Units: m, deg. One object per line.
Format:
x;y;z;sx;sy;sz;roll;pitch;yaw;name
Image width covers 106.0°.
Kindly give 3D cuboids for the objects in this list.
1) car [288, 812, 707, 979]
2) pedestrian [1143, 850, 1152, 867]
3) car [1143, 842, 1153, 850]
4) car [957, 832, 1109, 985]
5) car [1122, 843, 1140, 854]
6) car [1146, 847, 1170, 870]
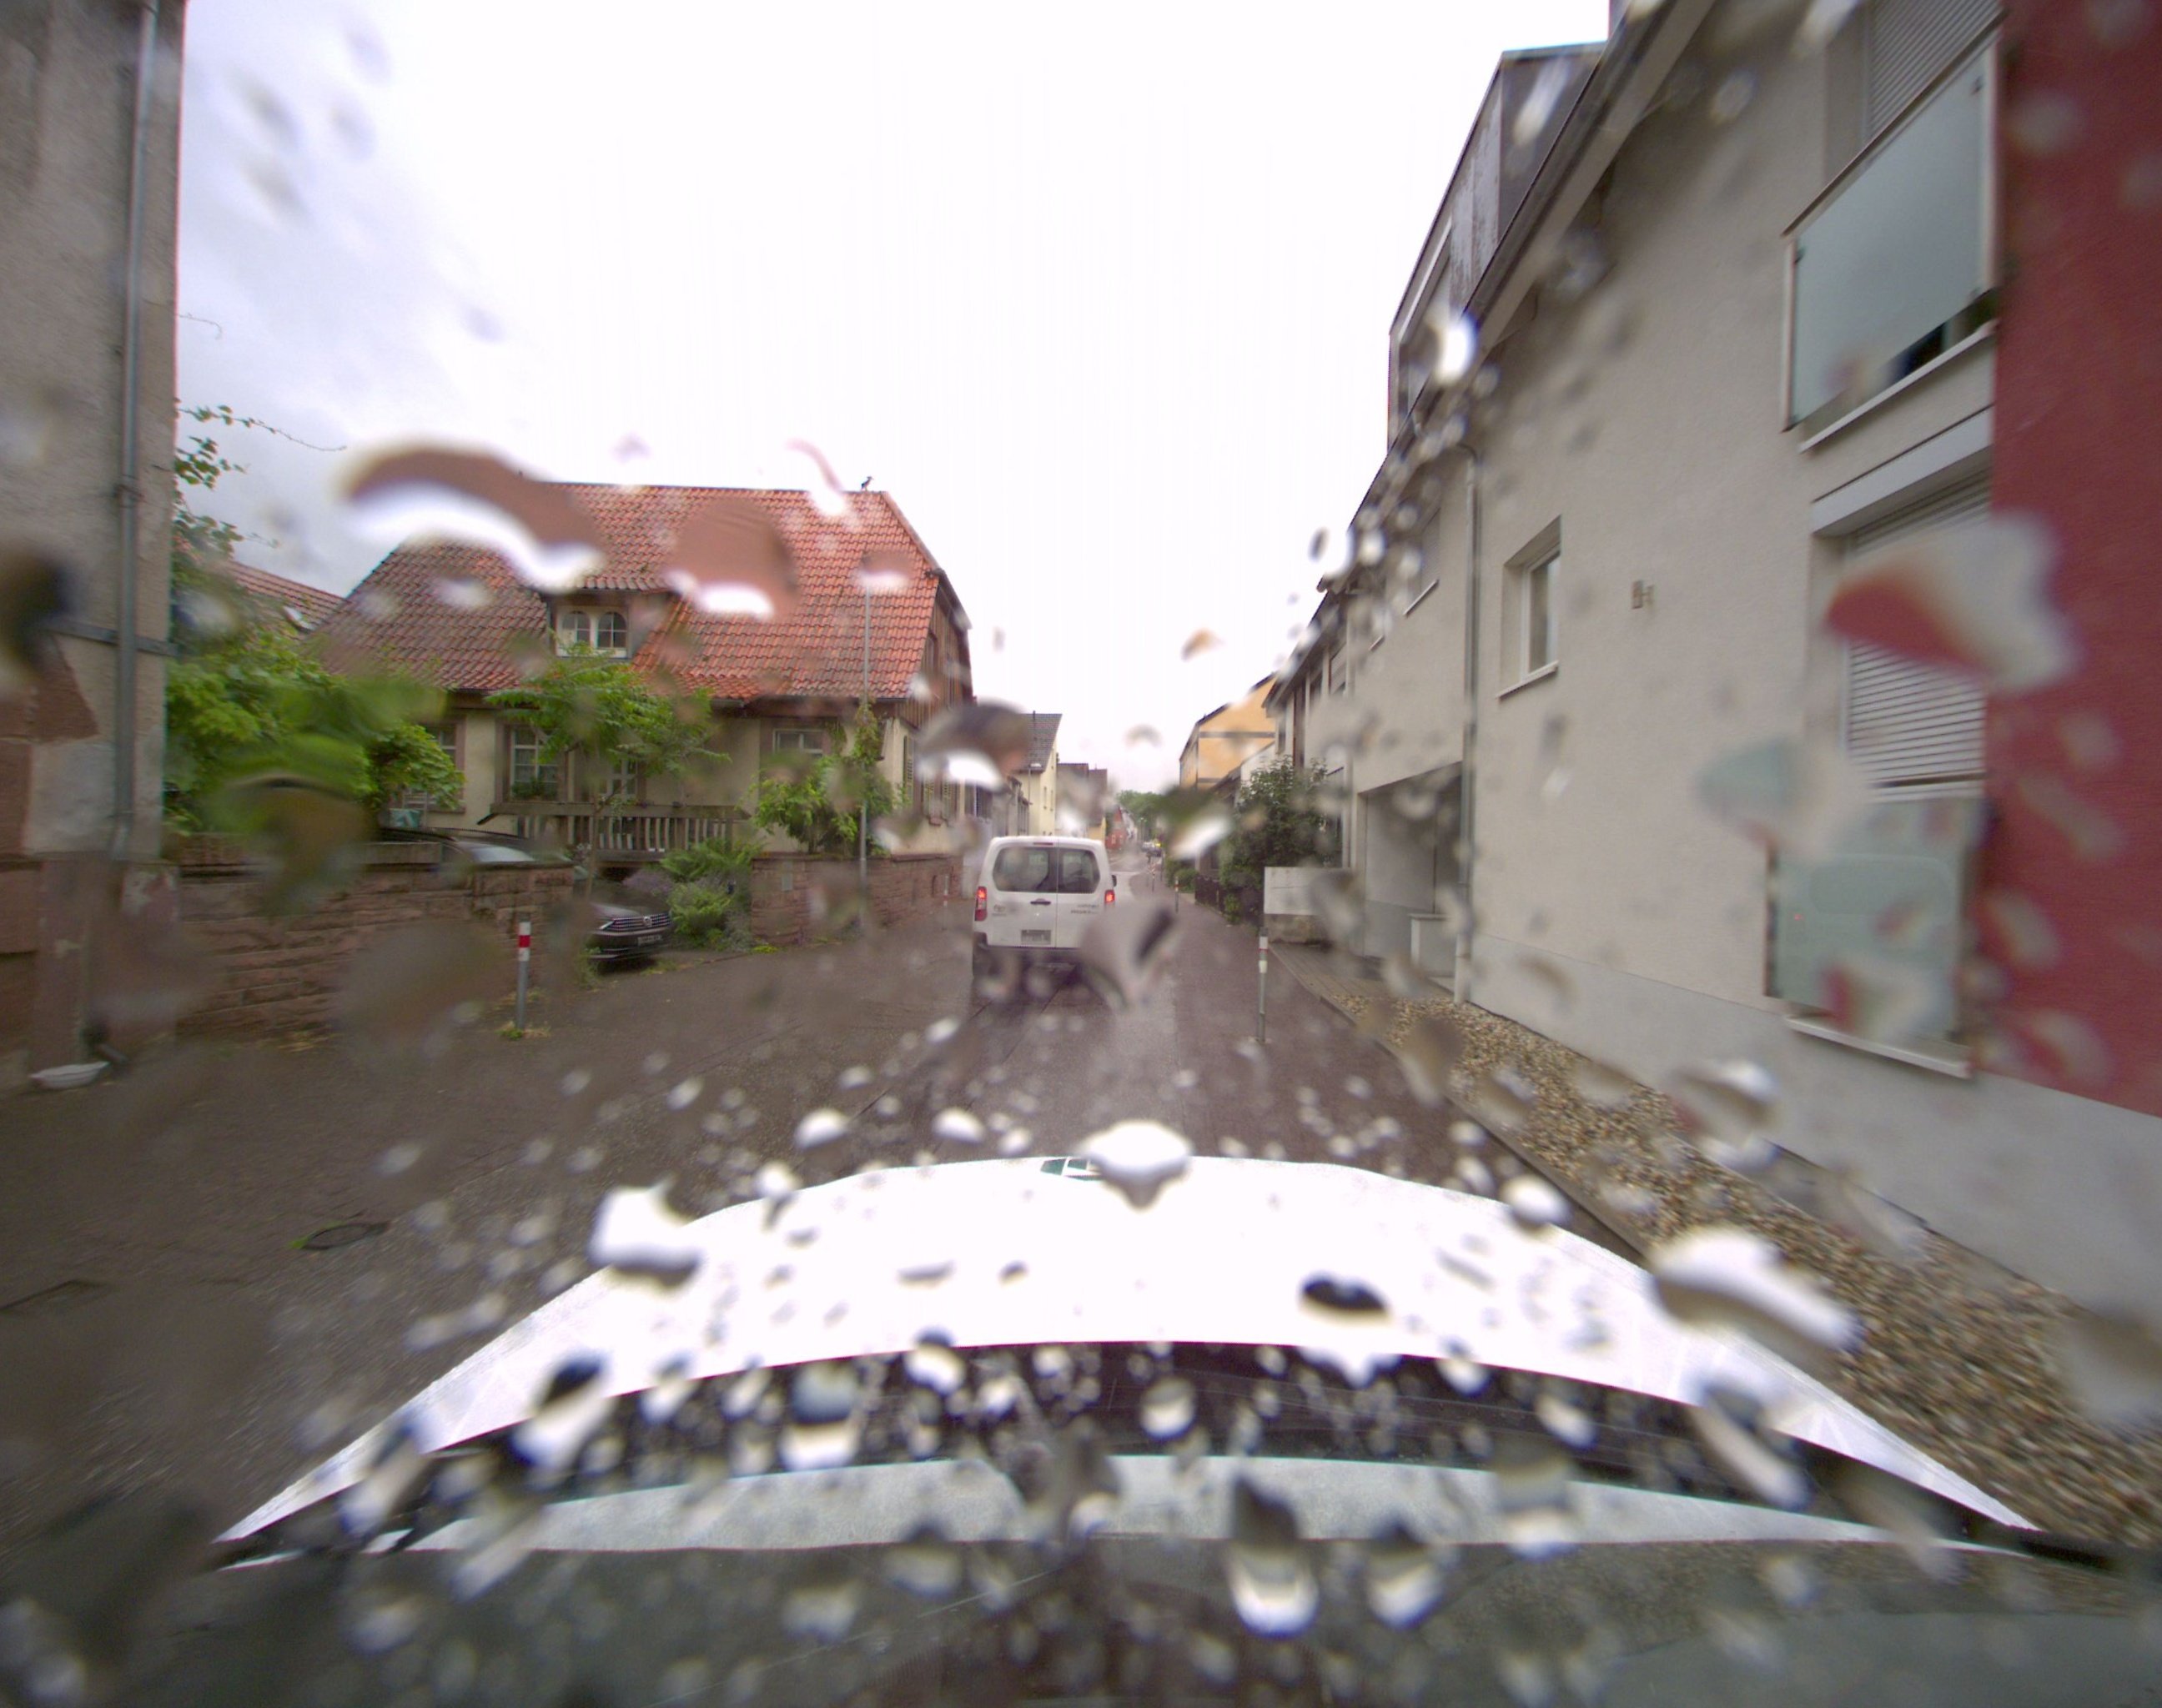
-6.947;0.434;9.872;3.963;1.425;1.741;6;0;10;car
7.757;0.522;95.141;1.046;1.893;0.878;0;-1;2;pedestrian
12.514;-1.534;151.727;1.579;1.441;3.776;2;0;10;car
-0.678;0.639;11.516;1.771;1.780;3.995;0;0;-4;car
8.034;-0.823;129.992;1.977;1.559;3.448;-2;2;18;car
6.810;0.395;71.790;1.983;2.014;4.007;0;0;6;car
